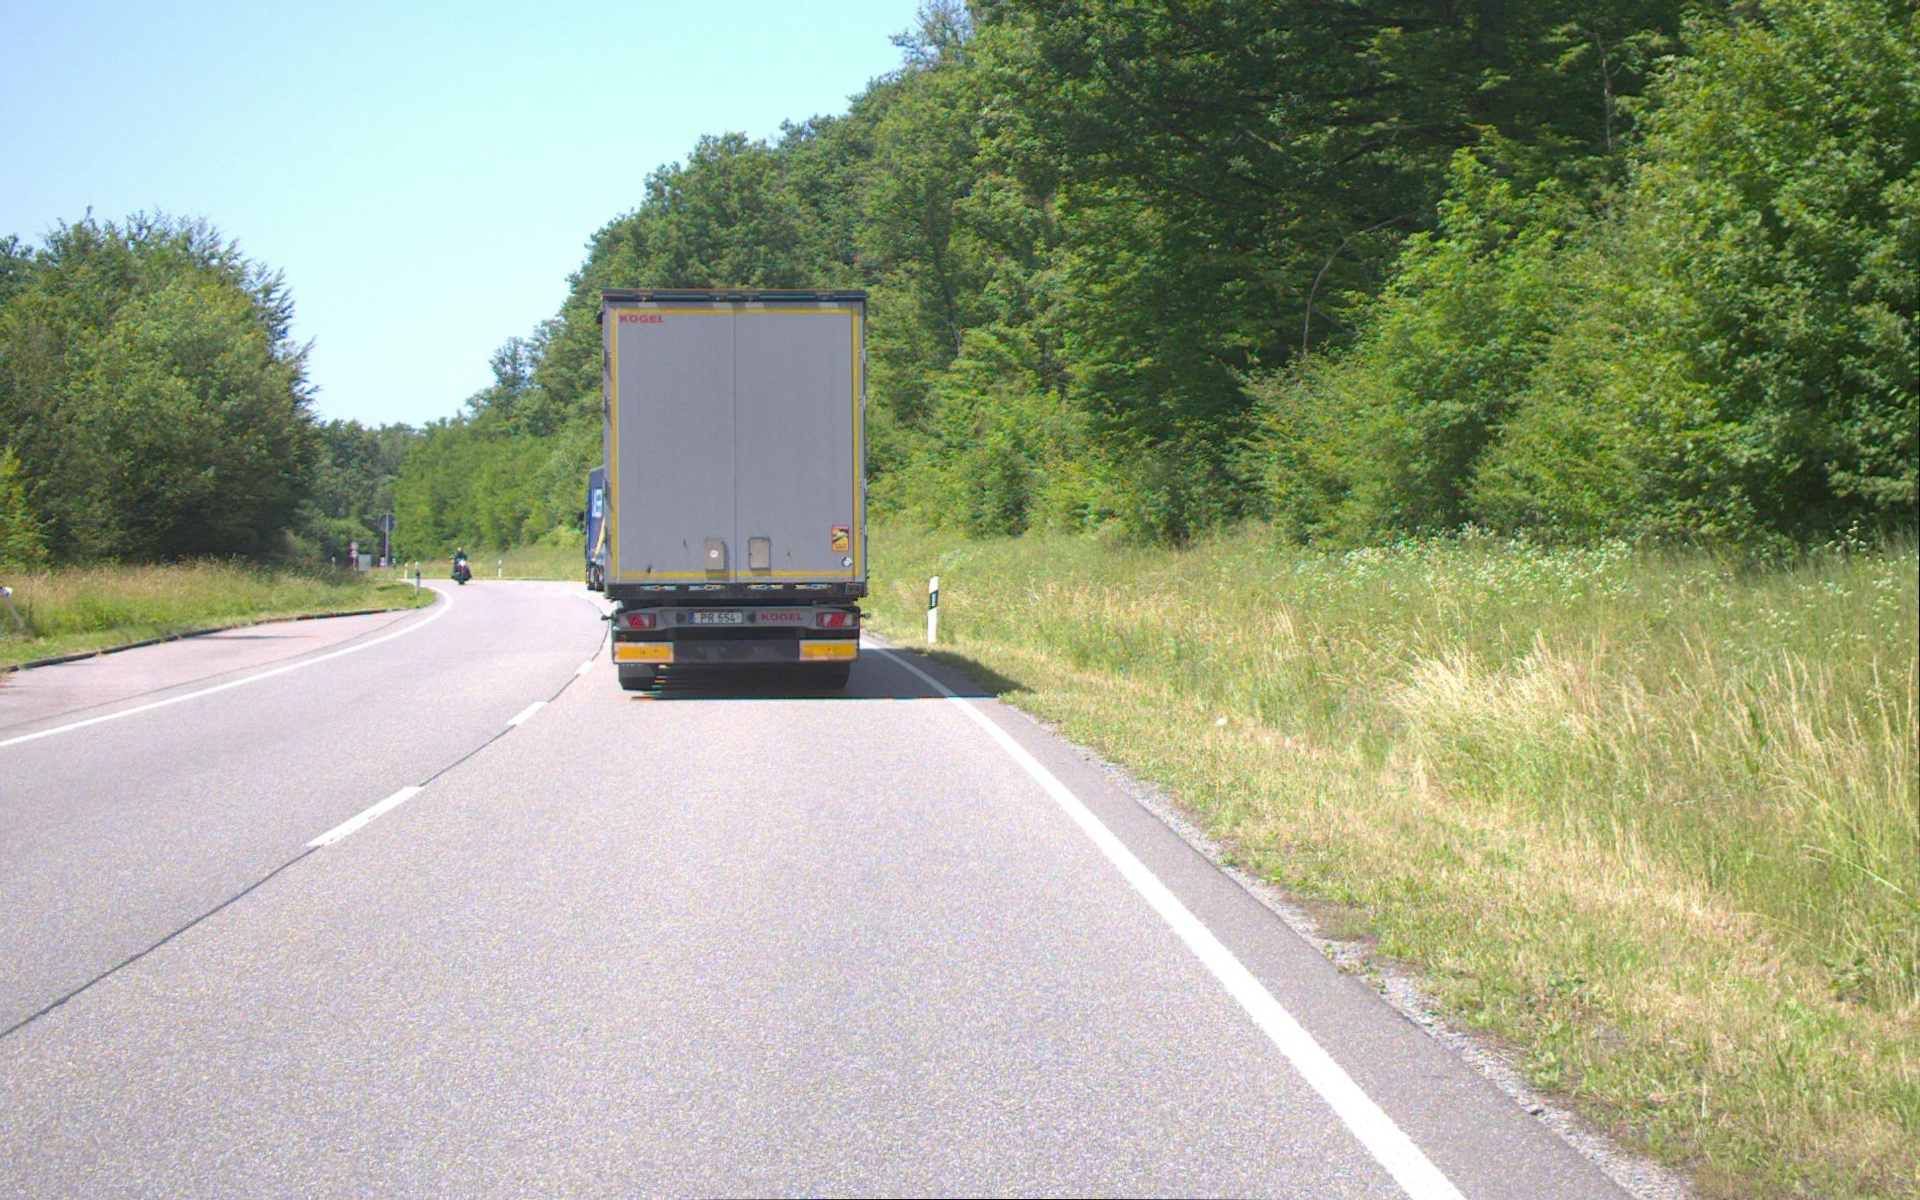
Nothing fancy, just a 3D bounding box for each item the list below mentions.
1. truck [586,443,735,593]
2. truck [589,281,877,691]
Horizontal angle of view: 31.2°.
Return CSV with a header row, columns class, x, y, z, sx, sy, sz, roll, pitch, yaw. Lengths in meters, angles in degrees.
class,x,y,z,sx,sy,sz,roll,pitch,yaw
truck,-9.659,-2.547,109.039,3.792,4.358,14.924,1,1,-8
truck,-2.450,-1.189,39.194,2.761,3.933,12.199,0,1,-3
